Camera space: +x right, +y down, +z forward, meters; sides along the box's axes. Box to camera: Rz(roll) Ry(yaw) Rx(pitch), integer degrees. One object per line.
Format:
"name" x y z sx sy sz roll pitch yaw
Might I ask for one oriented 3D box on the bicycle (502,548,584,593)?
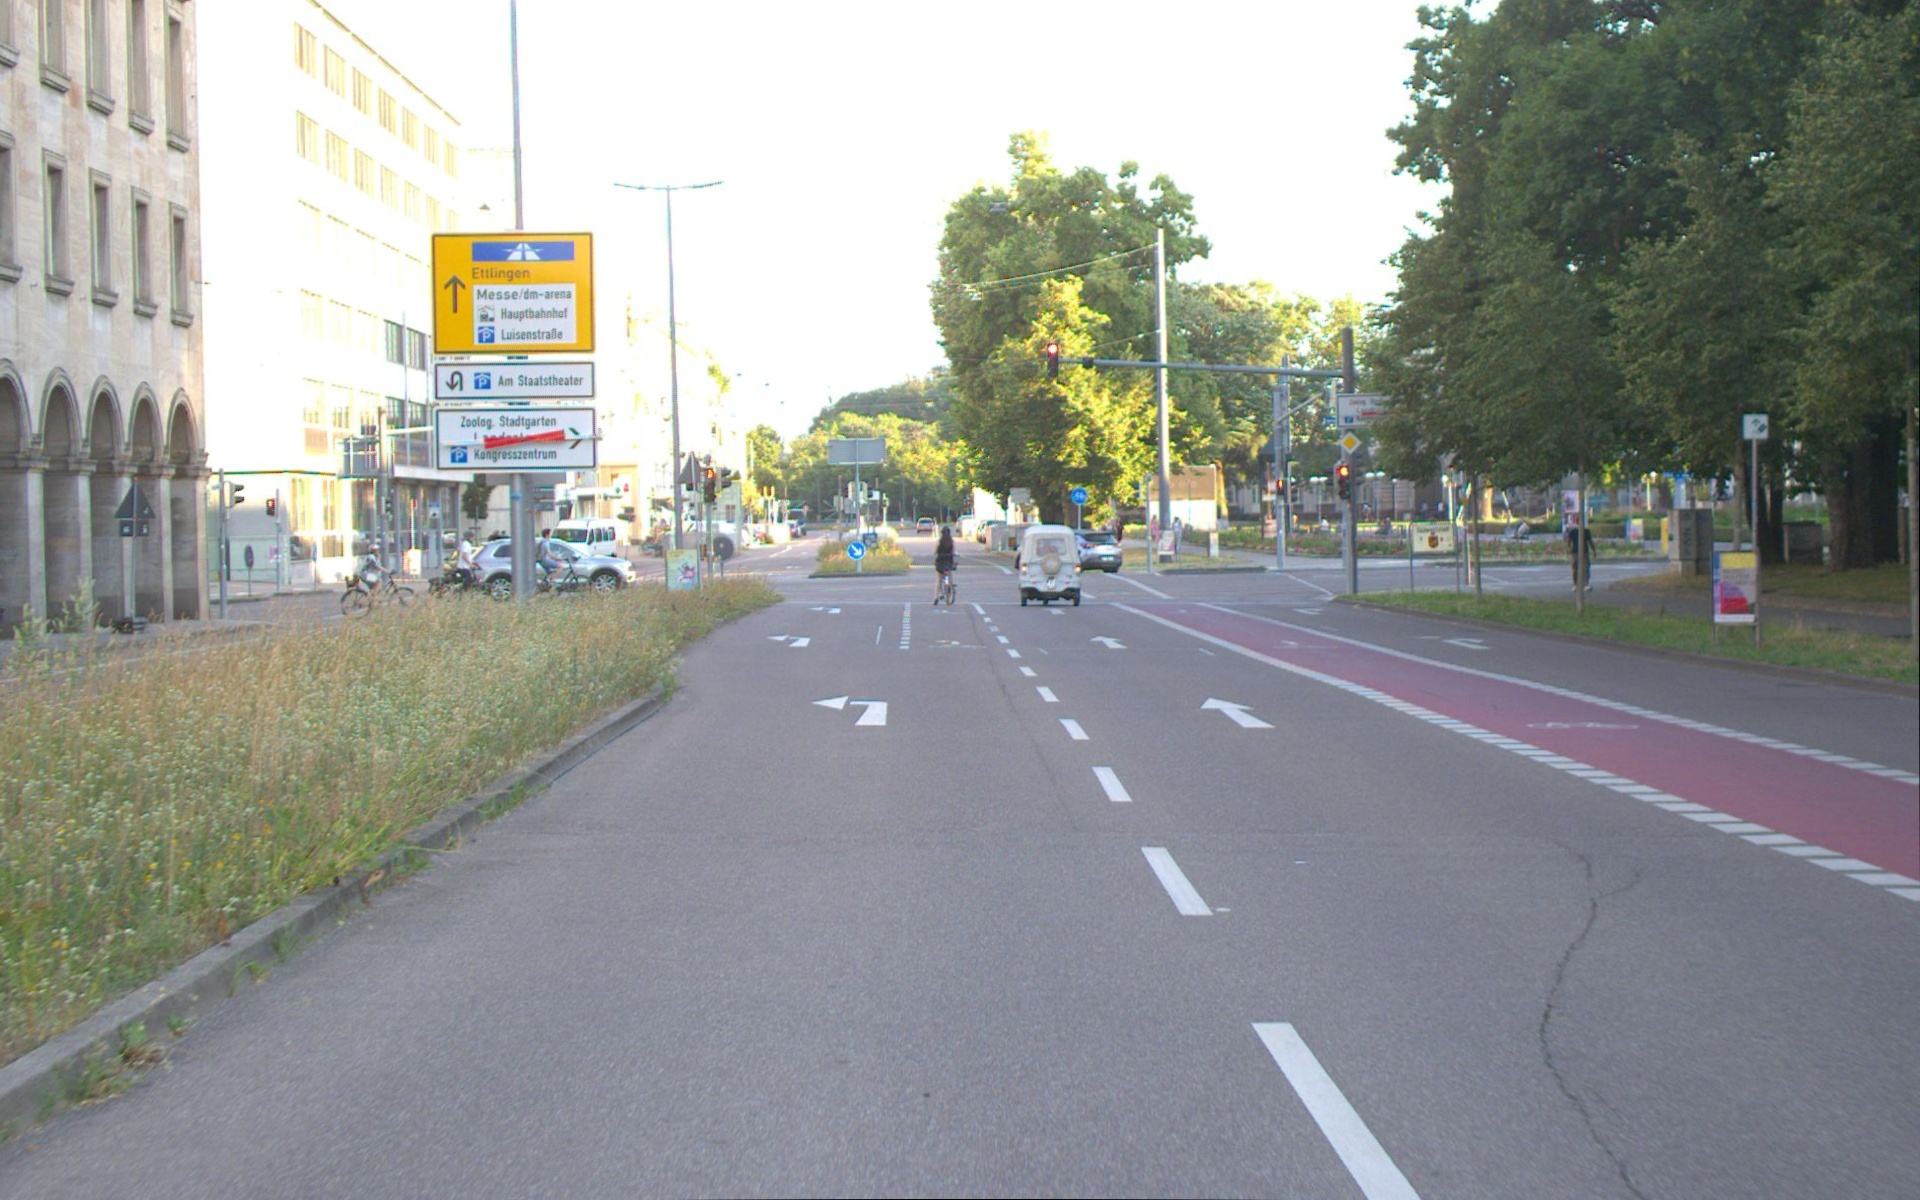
"bicycle" -10.374 -0.738 85.566 1.897 1.065 0.731 -1 1 2

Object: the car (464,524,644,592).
"car" -10.534 -1.099 89.083 4.532 1.642 2.001 -1 1 -9

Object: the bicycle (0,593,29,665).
"bicycle" -14.100 0.424 50.089 0.541 1.002 2.005 -1 1 -1

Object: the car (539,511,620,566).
"car" -18.178 -2.925 164.496 2.177 2.377 5.986 -2 -1 11

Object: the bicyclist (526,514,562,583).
"bicyclist" -10.355 -1.285 85.562 0.746 1.687 0.715 -1 1 2

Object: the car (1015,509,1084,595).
"car" 1.959 -1.067 75.325 1.459 1.774 2.564 -1 2 2

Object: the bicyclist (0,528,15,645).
"bicyclist" -14.090 -0.198 49.821 0.536 1.687 0.748 -1 1 0

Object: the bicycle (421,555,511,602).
"bicycle" -11.660 -0.515 81.258 2.057 1.065 0.787 -2 1 -6

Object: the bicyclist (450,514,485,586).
"bicyclist" -11.642 -1.185 81.241 0.746 1.687 0.765 -2 1 -7

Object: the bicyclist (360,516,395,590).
"bicyclist" -13.556 -1.096 79.976 0.746 1.687 0.715 -2 1 -10

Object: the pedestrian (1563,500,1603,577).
"pedestrian" 13.862 -1.367 76.543 0.695 1.687 0.748 -1 1 -2

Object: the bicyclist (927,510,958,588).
"bicyclist" -0.391 -1.117 75.569 0.628 1.687 0.748 -1 1 -1

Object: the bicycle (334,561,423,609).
"bicycle" -13.522 -0.345 79.981 2.014 1.065 0.731 -1 1 -8

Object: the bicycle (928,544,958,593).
"bicycle" -0.378 -0.704 75.893 0.637 1.065 2.069 0 1 -1
